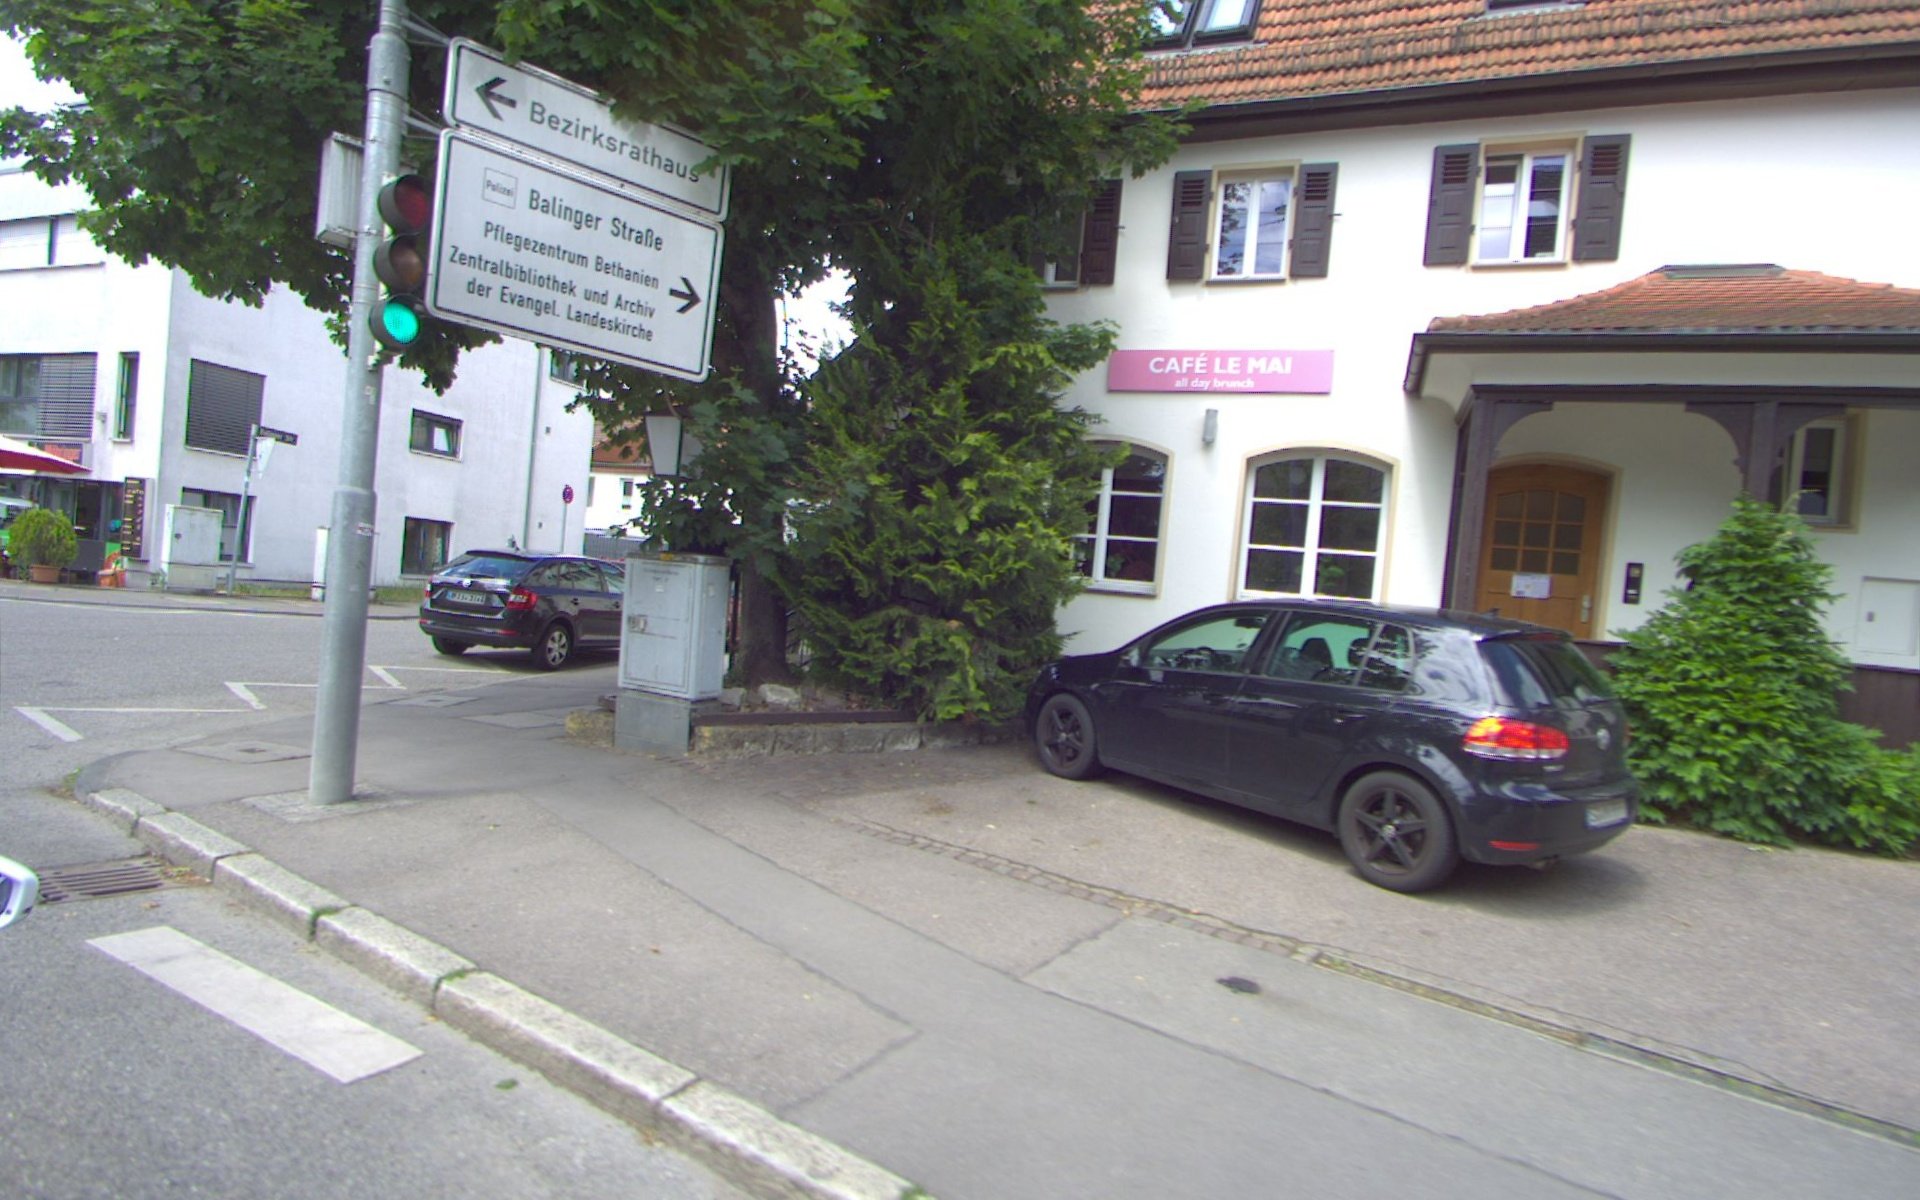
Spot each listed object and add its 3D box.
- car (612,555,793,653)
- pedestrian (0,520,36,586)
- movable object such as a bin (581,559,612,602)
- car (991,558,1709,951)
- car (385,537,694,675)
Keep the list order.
[{"bbox_3d":[-4.645,0.124,18.649,1.621,1.505,3.425,6,0,16],"label":"car"},{"bbox_3d":[-16.592,-0.831,17.396,0.622,1.102,0.568,6,1,4],"label":"pedestrian"},{"bbox_3d":[-10.235,-0.558,28.337,0.518,1.143,0.527,6,1,22],"label":"movable object such as a bin"},{"bbox_3d":[2.161,0.655,6.658,1.739,1.539,4.037,1,5,-36],"label":"car"},{"bbox_3d":[-5.581,0.065,14.021,1.745,1.434,4.183,7,2,13],"label":"car"}]
